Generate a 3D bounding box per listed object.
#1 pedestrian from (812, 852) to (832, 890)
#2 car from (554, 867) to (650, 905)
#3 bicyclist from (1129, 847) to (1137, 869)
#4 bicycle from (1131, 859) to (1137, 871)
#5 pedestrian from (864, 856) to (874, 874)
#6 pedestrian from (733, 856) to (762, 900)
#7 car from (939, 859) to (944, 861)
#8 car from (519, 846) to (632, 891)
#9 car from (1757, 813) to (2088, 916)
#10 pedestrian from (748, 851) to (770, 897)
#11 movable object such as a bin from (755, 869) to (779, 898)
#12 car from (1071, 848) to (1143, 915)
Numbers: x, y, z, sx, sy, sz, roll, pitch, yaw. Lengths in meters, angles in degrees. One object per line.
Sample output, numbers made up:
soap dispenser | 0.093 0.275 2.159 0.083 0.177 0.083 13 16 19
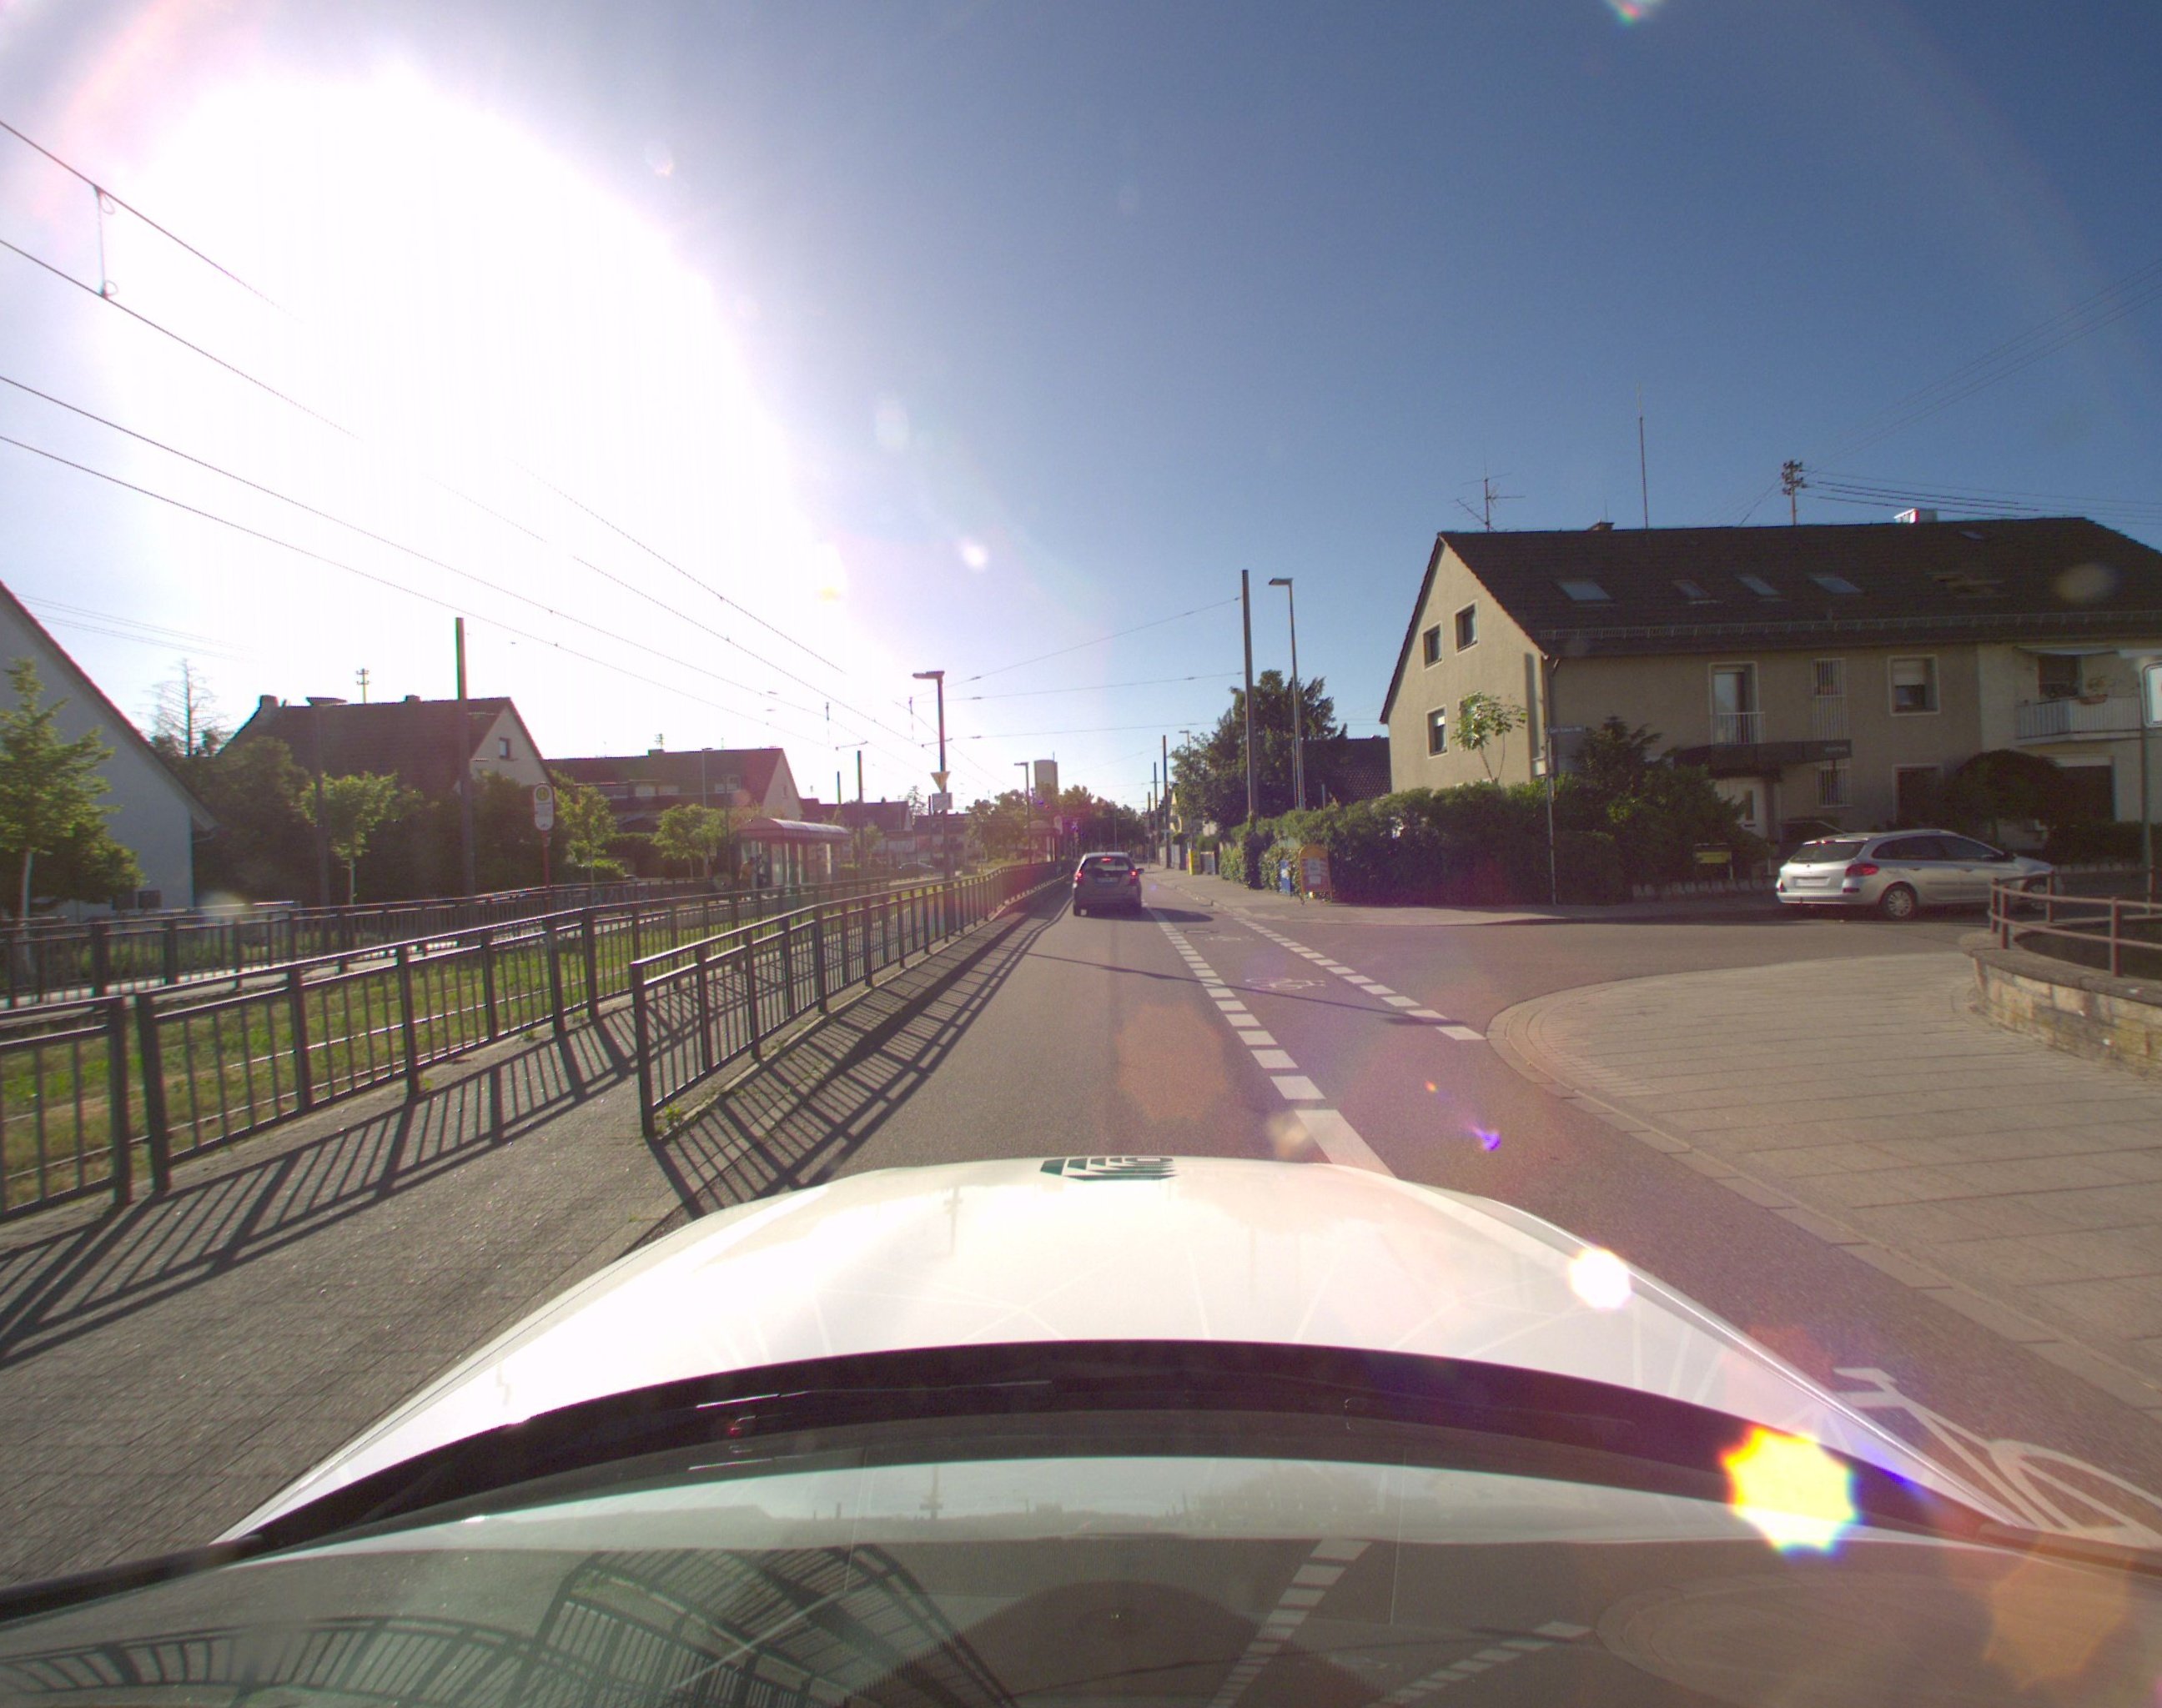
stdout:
pedestrian | -12.066 0.780 37.917 0.498 1.696 0.772 -5 0 2
car | -24.498 1.621 41.757 3.839 1.806 1.796 -1 -1 -6
bicyclist | 4.067 0.303 64.048 0.596 1.701 0.684 -1 -1 2
bicycle | 4.175 0.851 64.354 0.473 0.961 1.658 -1 -1 2
pedestrian | -21.315 1.129 81.933 0.726 1.762 0.772 -3 0 0
pedestrian | -11.954 0.841 29.205 0.673 1.535 0.748 -2 0 -3
car | -20.635 0.878 120.707 0.695 0.336 0.330 -1 -1 6
car | -23.577 0.673 38.117 3.982 1.970 1.929 -1 -1 -6
car | 14.783 0.190 14.452 4.131 1.511 1.799 -3 -2 -4
pedestrian | -12.174 0.746 30.804 0.518 1.708 0.580 -2 0 -3
movable object such as a bin | -11.312 1.062 29.348 0.545 0.988 0.741 -2 0 -2
car | 0.637 0.635 20.787 1.664 1.535 3.487 -1 0 1
